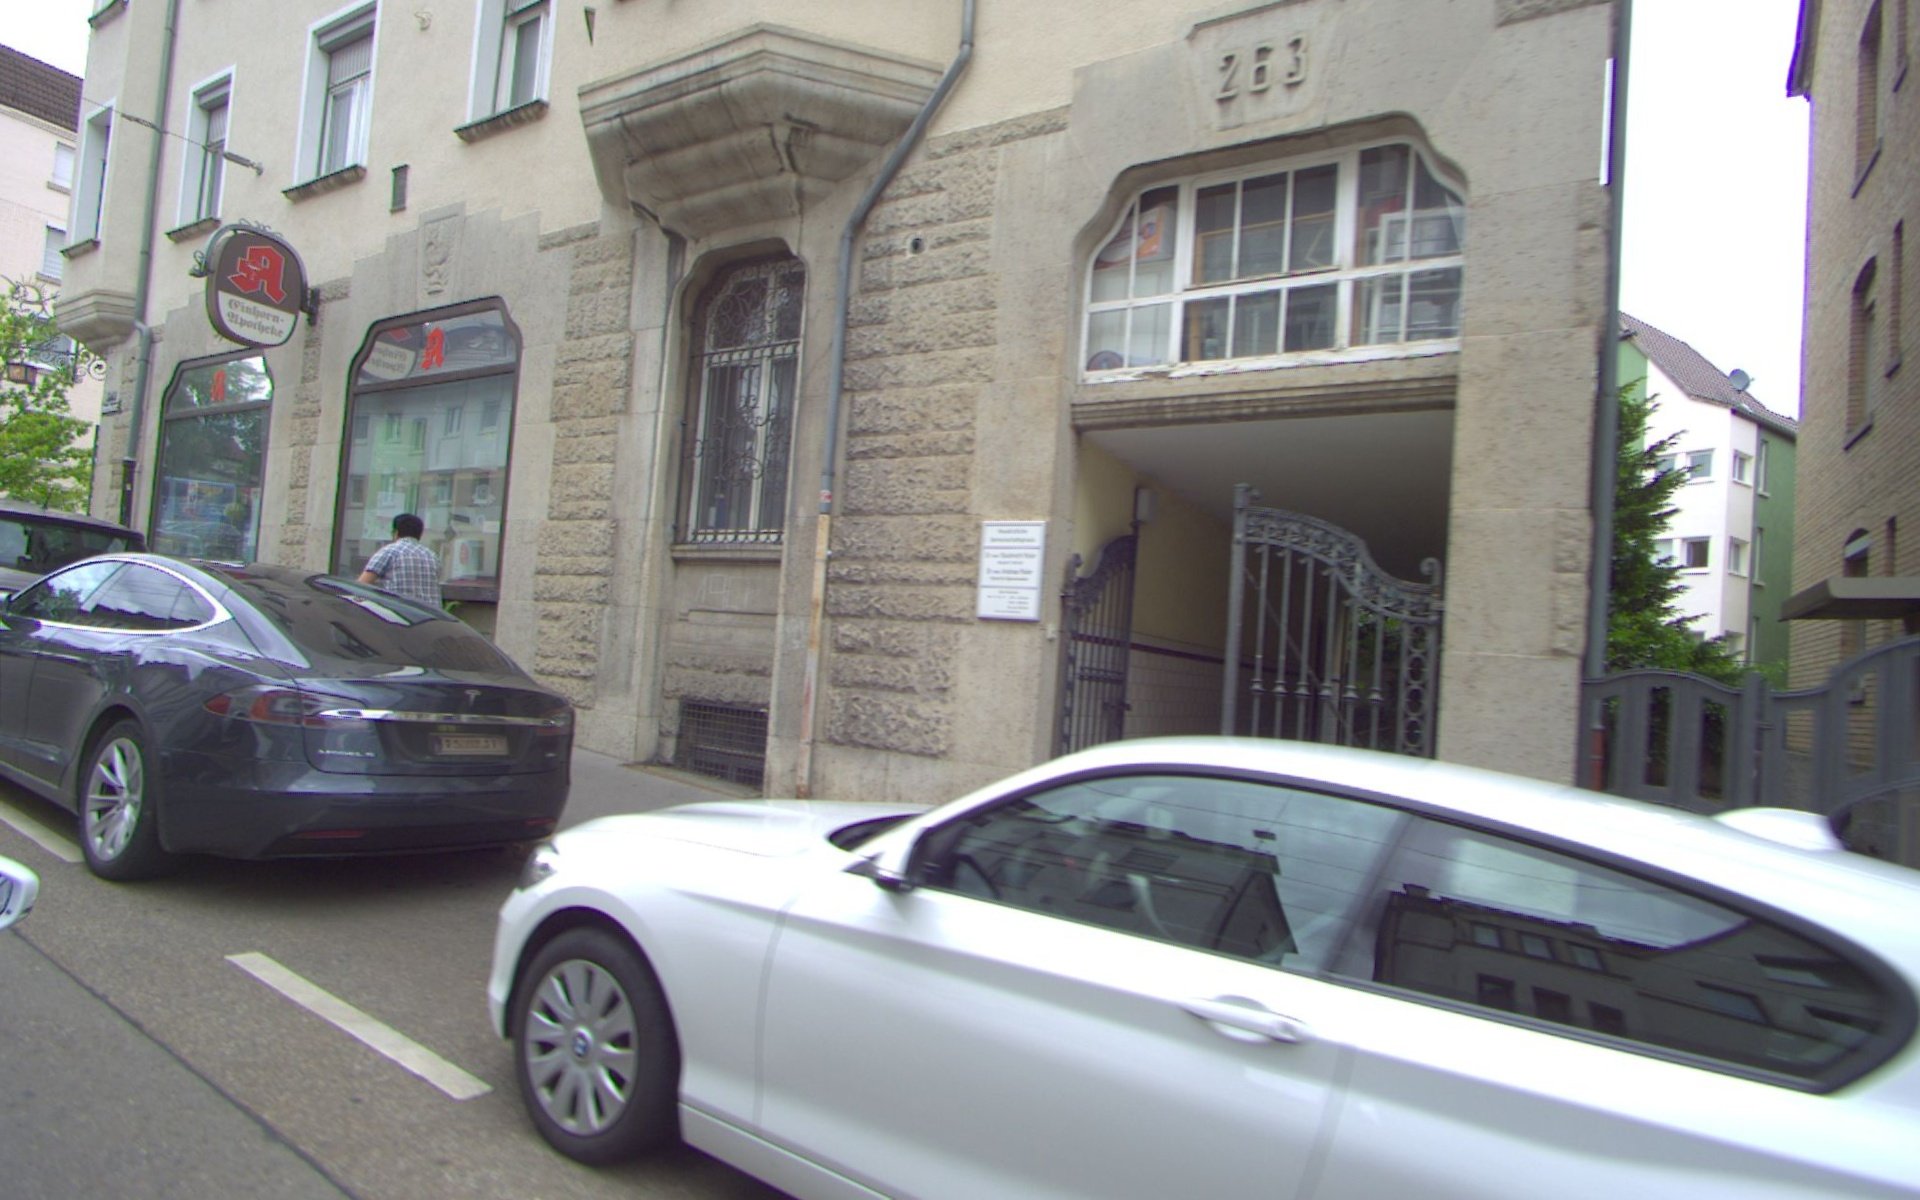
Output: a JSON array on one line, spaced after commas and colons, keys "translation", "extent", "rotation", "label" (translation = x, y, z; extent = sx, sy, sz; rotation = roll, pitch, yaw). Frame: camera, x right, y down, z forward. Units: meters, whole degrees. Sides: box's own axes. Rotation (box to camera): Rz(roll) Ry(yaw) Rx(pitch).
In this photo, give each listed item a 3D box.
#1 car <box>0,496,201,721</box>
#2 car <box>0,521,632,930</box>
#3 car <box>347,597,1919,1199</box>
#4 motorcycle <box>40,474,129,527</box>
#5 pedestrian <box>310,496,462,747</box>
[{"translation": [-8.620, -0.129, 8.482], "extent": [4.496, 1.553, 1.741], "rotation": [6, -4, 30], "label": "car"}, {"translation": [-4.259, 0.447, 5.761], "extent": [4.613, 1.405, 1.785], "rotation": [6, -4, 31], "label": "car"}, {"translation": [0.417, 1.001, 2.854], "extent": [4.235, 1.405, 1.756], "rotation": [6, -4, 31], "label": "car"}, {"translation": [-22.584, -2.537, 25.944], "extent": [2.346, 1.116, 0.929], "rotation": [2, -5, 30], "label": "motorcycle"}, {"translation": [-4.420, 0.170, 7.757], "extent": [0.621, 1.824, 0.600], "rotation": [6, -2, 31], "label": "pedestrian"}]
